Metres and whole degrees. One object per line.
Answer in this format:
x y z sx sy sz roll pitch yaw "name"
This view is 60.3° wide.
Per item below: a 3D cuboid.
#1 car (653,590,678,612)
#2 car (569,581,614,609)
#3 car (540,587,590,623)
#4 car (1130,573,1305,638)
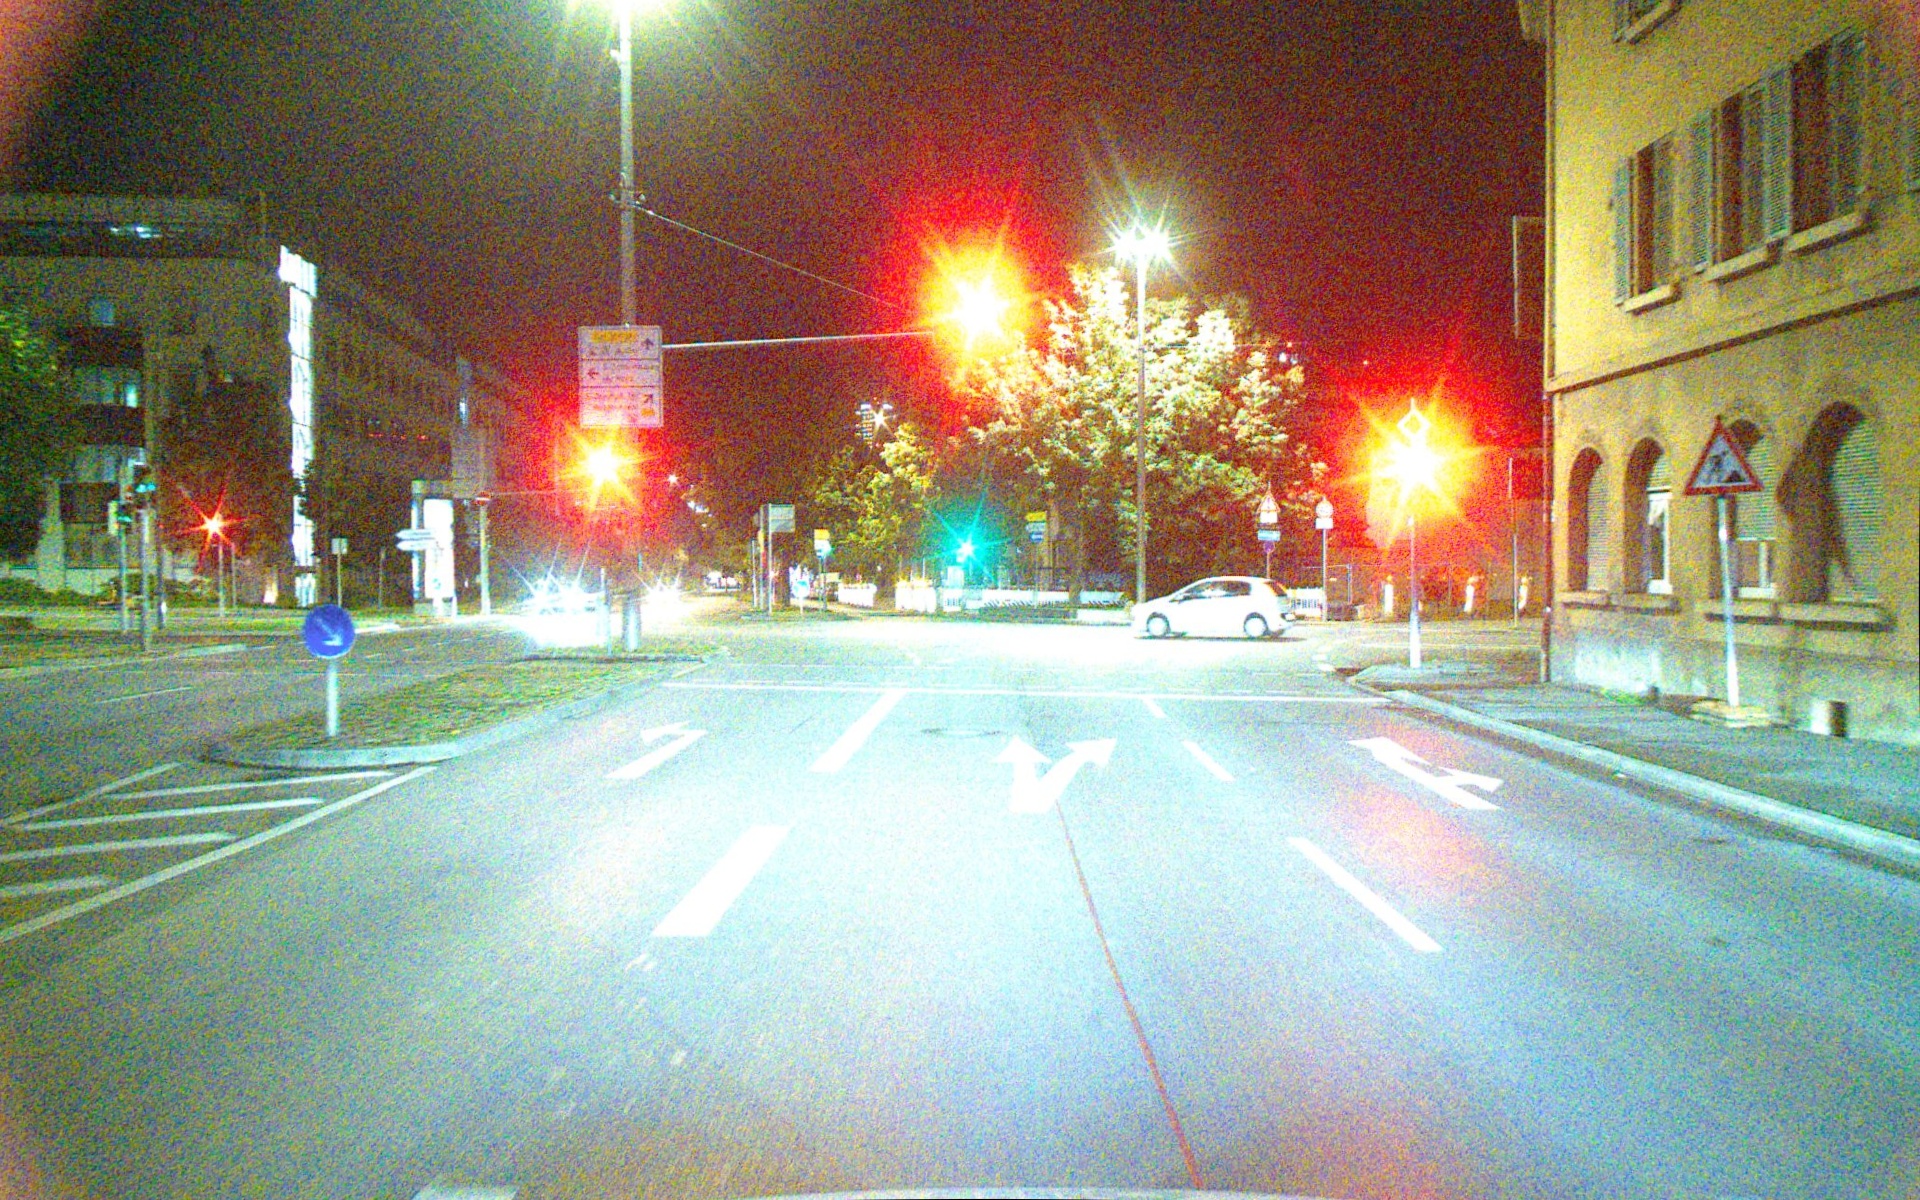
-23.601 0.090 132.494 1.724 1.758 3.543 0 0 -6 "car"
-17.993 -0.227 80.775 1.724 1.345 3.543 0 0 -6 "car"
-17.488 0.220 73.407 1.584 1.541 3.995 0 0 -5 "car"
6.283 0.130 40.447 3.910 1.517 1.706 0 0 28 "car"
